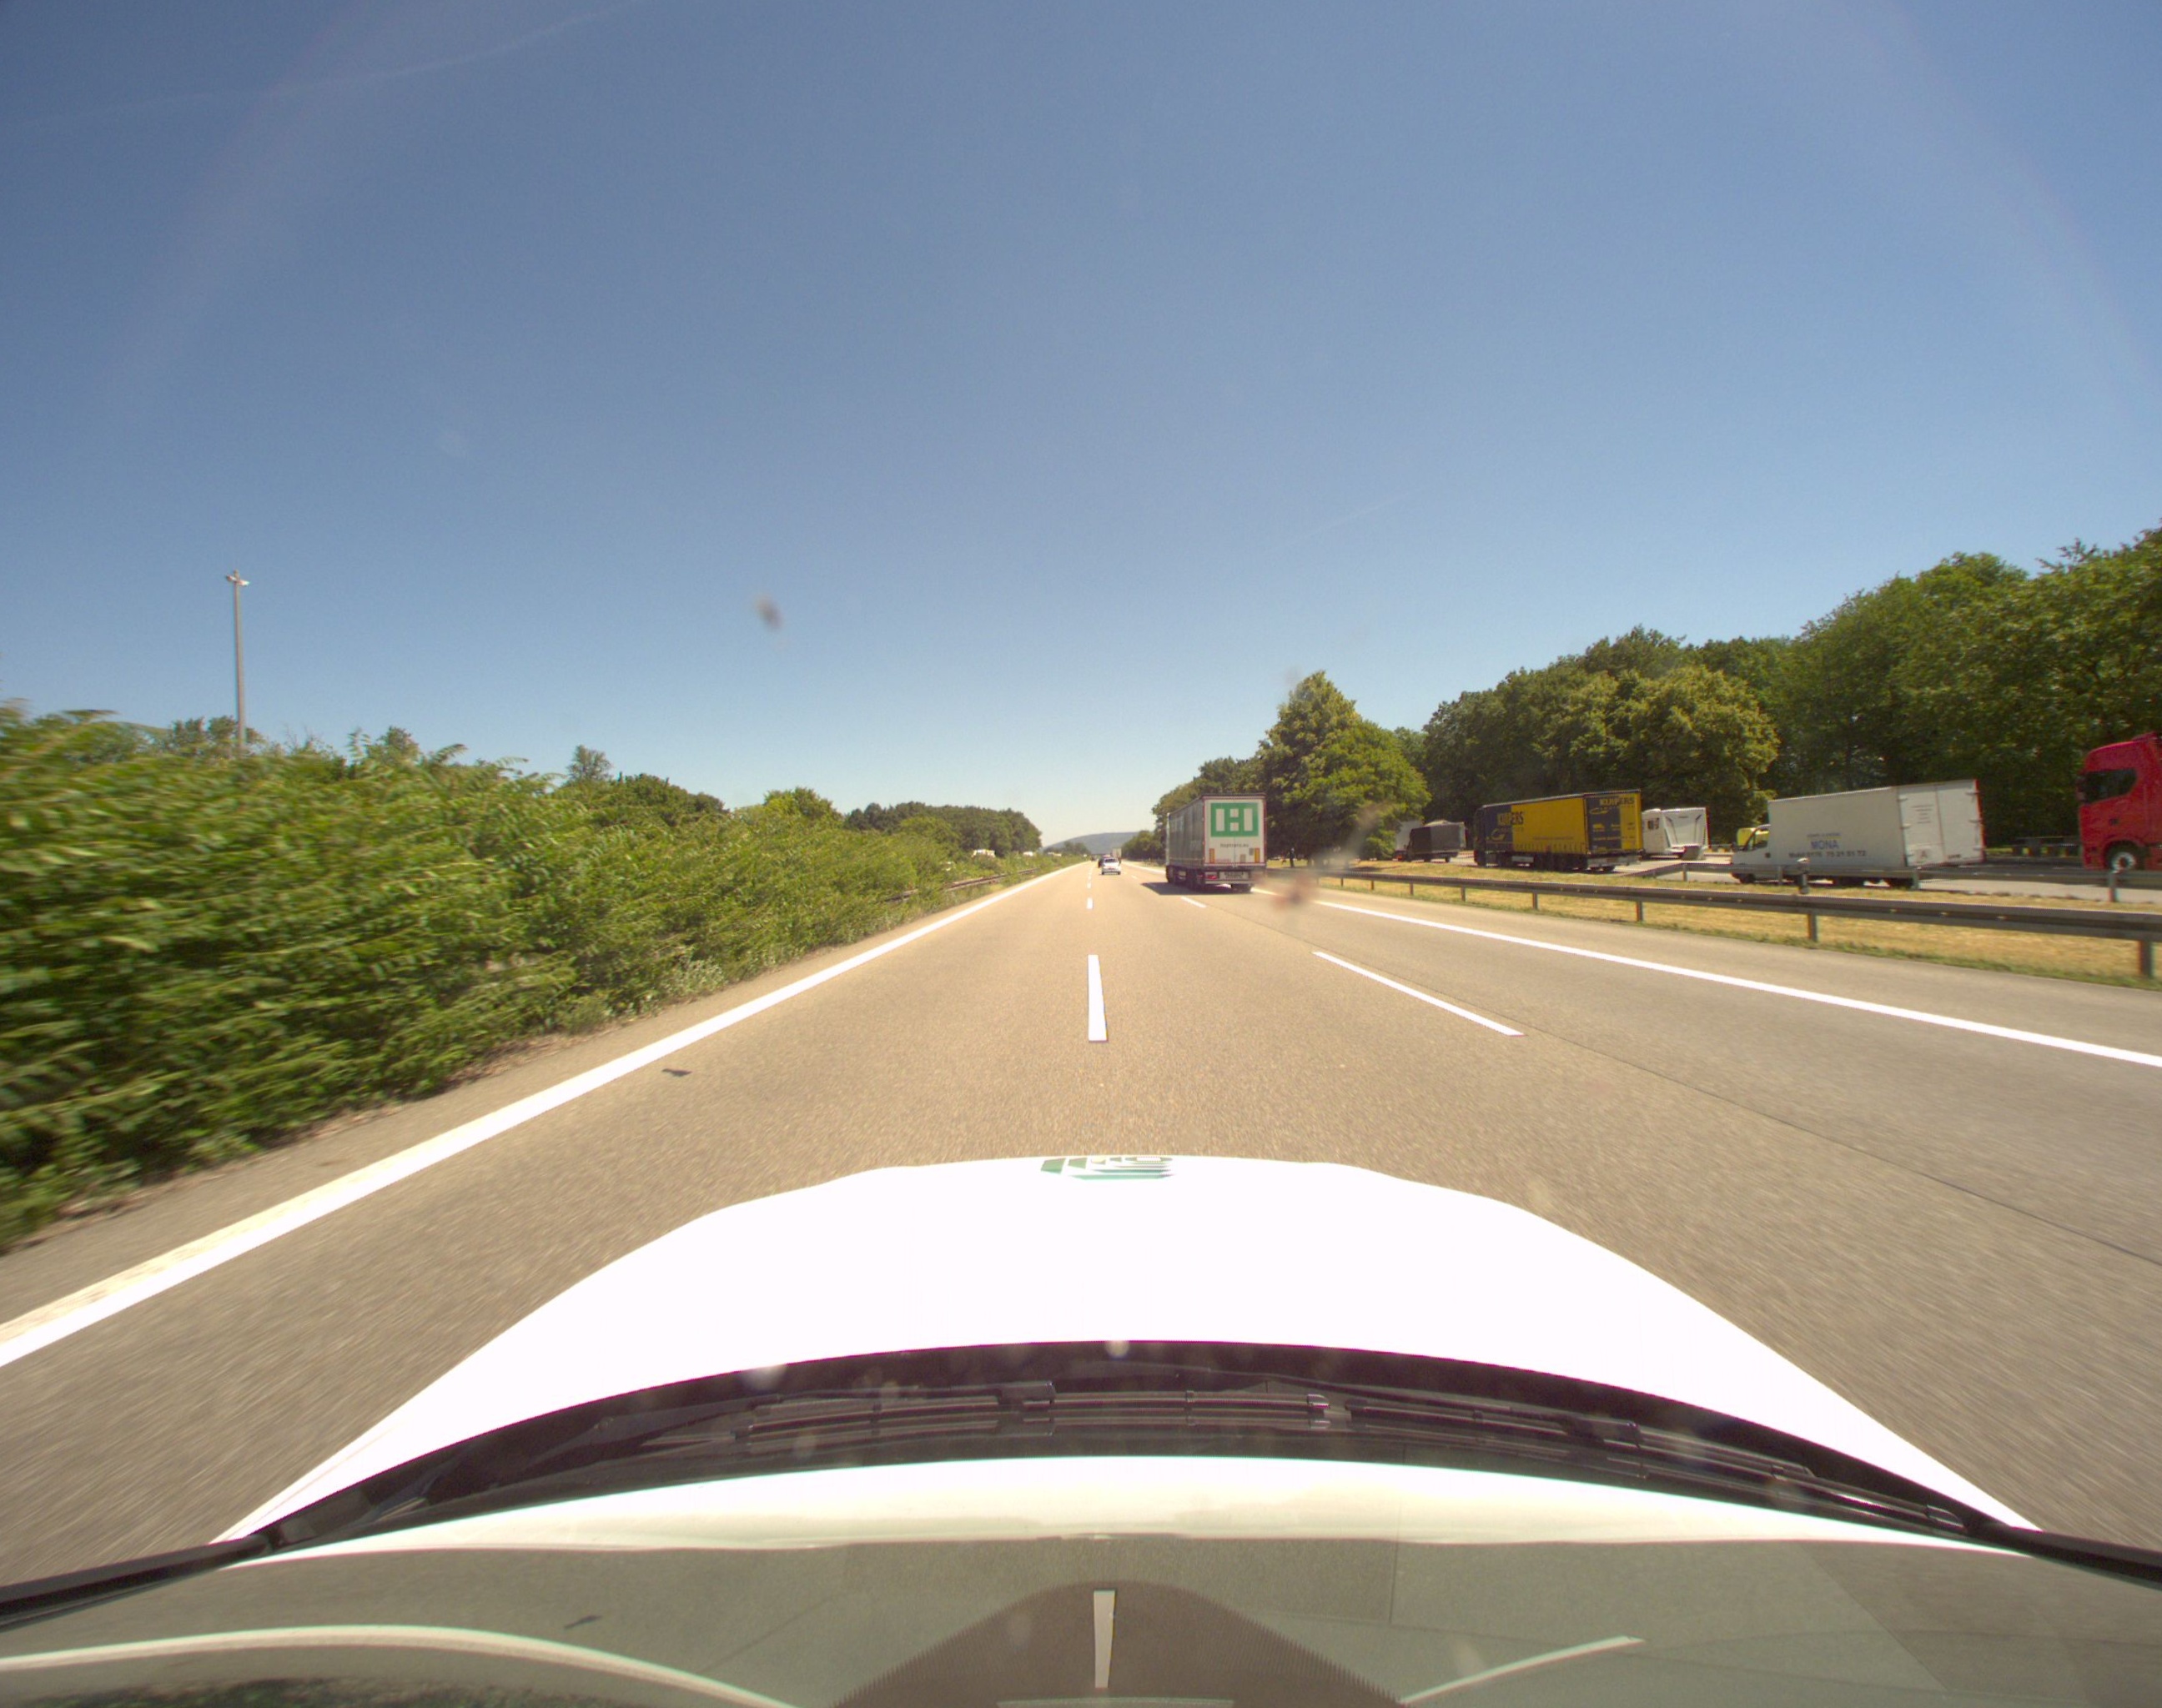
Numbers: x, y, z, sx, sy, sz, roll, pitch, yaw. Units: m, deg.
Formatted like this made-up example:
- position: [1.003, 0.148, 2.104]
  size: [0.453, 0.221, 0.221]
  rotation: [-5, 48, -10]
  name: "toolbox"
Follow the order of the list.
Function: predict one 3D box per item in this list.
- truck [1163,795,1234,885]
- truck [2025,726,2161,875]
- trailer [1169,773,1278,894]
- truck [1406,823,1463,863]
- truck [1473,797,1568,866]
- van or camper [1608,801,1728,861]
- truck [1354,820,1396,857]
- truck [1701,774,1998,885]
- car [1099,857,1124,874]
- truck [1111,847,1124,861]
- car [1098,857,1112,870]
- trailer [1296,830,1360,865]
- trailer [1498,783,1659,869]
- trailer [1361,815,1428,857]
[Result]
- position: [6.439, -0.728, 45.515]
  size: [3.170, 4.607, 5.950]
  rotation: [-1, 0, 2]
  name: "truck"
- position: [29.759, -1.445, 21.464]
  size: [2.960, 3.881, 6.437]
  rotation: [-2, 0, 11]
  name: "truck"
- position: [6.215, -0.783, 37.879]
  size: [3.170, 4.627, 12.054]
  rotation: [-2, 0, 2]
  name: "trailer"
- position: [29.248, -0.878, 67.636]
  size: [2.455, 3.086, 6.629]
  rotation: [-1, 0, 7]
  name: "truck"
- position: [27.277, -1.287, 50.886]
  size: [3.165, 3.935, 6.634]
  rotation: [-1, 0, 10]
  name: "truck"
- position: [35.210, -1.285, 49.233]
  size: [2.981, 3.235, 7.018]
  rotation: [-2, 0, 9]
  name: "van or camper"
- position: [31.506, -1.617, 87.398]
  size: [3.073, 3.790, 5.326]
  rotation: [-1, 0, 6]
  name: "truck"
- position: [23.653, -0.645, 25.818]
  size: [2.458, 2.946, 7.665]
  rotation: [-1, 0, 3]
  name: "truck"
- position: [2.738, 1.013, 74.354]
  size: [1.809, 1.405, 3.311]
  rotation: [-2, 0, -6]
  name: "car"
- position: [9.879, -0.058, 222.958]
  size: [3.313, 3.756, 12.799]
  rotation: [-1, 0, 1]
  name: "truck"
- position: [3.655, 1.462, 122.613]
  size: [1.889, 1.892, 4.004]
  rotation: [-3, 0, 4]
  name: "car"
- position: [30.497, -0.737, 101.286]
  size: [3.127, 3.952, 14.186]
  rotation: [-2, 0, -2]
  name: "trailer"
- position: [25.989, -1.279, 43.502]
  size: [3.165, 3.935, 11.581]
  rotation: [-1, 0, 10]
  name: "trailer"
- position: [30.707, -1.630, 80.537]
  size: [3.085, 3.790, 13.391]
  rotation: [-1, 0, 8]
  name: "trailer"
